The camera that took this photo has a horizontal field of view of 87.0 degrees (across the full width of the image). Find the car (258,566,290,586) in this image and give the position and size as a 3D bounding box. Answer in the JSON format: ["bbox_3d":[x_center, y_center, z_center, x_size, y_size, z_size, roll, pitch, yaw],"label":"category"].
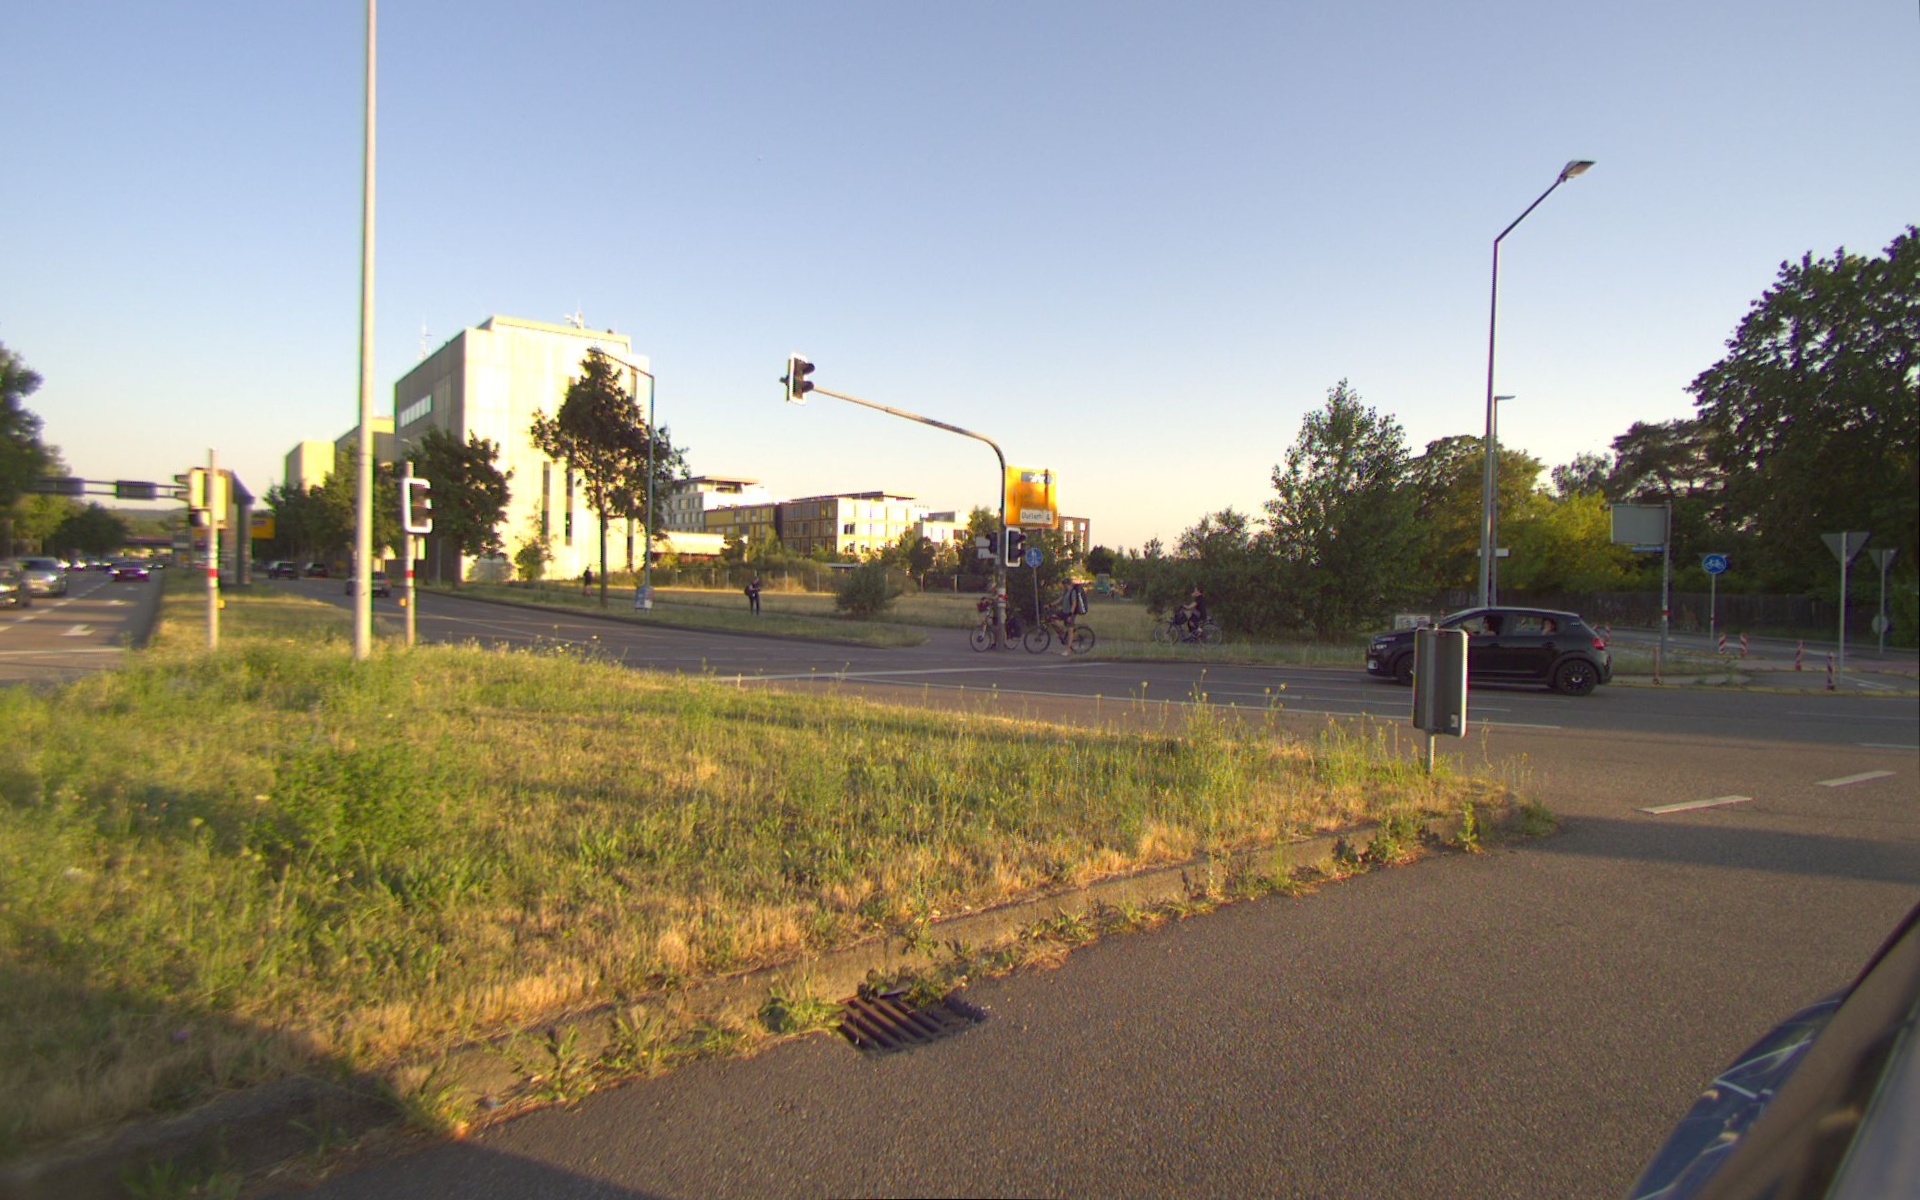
[{"bbox_3d":[-57.930,-2.047,85.447,1.786,1.544,4.129,1,1,-41],"label":"car"}]

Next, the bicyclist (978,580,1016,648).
[{"bbox_3d":[0.961,0.353,26.442,0.757,1.722,0.640,-2,3,-42],"label":"bicyclist"}]

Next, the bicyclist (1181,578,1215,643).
[{"bbox_3d":[6.659,0.280,28.324,0.830,1.765,0.536,2,0,8],"label":"bicyclist"}]

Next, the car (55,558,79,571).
[{"bbox_3d":[-91.872,-3.640,104.126,1.590,1.325,3.714,-1,2,-38],"label":"car"}]

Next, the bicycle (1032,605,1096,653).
[{"bbox_3d":[2.623,0.705,25.429,1.895,1.098,0.456,-2,3,-42],"label":"bicycle"}]

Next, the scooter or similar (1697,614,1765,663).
[{"bbox_3d":[19.400,0.958,25.471,1.356,1.177,0.443,1,1,-4],"label":"scooter or similar"}]

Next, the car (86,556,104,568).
[{"bbox_3d":[-112.561,-4.978,131.657,1.590,1.537,3.714,-1,2,-38],"label":"car"}]

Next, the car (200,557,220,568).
[{"bbox_3d":[-106.194,-5.294,143.267,1.965,1.489,3.995,1,1,-41],"label":"car"}]

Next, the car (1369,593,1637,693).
[{"bbox_3d":[9.506,0.698,18.112,3.952,1.482,1.791,2,1,21],"label":"car"}]

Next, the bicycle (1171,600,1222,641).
[{"bbox_3d":[6.626,0.574,28.350,1.350,1.102,0.279,2,0,9],"label":"bicycle"}]

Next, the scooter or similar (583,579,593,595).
[{"bbox_3d":[-22.896,-0.787,62.254,0.243,0.925,1.038,1,1,-38],"label":"scooter or similar"}]

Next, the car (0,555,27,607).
[{"bbox_3d":[-32.643,-0.656,33.888,1.771,1.653,4.452,-1,1,-39],"label":"car"}]

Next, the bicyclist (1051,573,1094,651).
[{"bbox_3d":[2.823,0.284,25.409,0.894,1.921,0.640,-2,3,-42],"label":"bicyclist"}]

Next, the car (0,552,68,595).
[{"bbox_3d":[-40.302,-1.154,44.013,1.887,1.776,4.919,-1,2,-37],"label":"car"}]

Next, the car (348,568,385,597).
[{"bbox_3d":[-33.030,-0.983,56.276,1.717,1.441,4.139,1,1,-31],"label":"car"}]

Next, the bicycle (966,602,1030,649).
[{"bbox_3d":[0.999,0.648,26.456,1.896,1.098,0.456,-3,3,-42],"label":"bicycle"}]

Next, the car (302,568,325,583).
[{"bbox_3d":[-66.136,-2.529,103.497,1.719,1.507,4.134,1,1,-37],"label":"car"}]

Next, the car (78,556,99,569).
[{"bbox_3d":[-100.731,-4.346,116.983,1.590,1.537,3.714,-1,2,-38],"label":"car"}]

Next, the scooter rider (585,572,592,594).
[{"bbox_3d":[-22.870,-1.060,62.229,0.260,1.356,0.406,1,1,-39],"label":"scooter rider"}]

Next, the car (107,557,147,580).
[{"bbox_3d":[-55.098,-2.070,67.010,1.811,1.479,4.579,1,0,-37],"label":"car"}]

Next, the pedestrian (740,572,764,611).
[{"bbox_3d":[-8.451,-0.358,41.150,0.782,1.569,0.567,1,1,-39],"label":"pedestrian"}]
